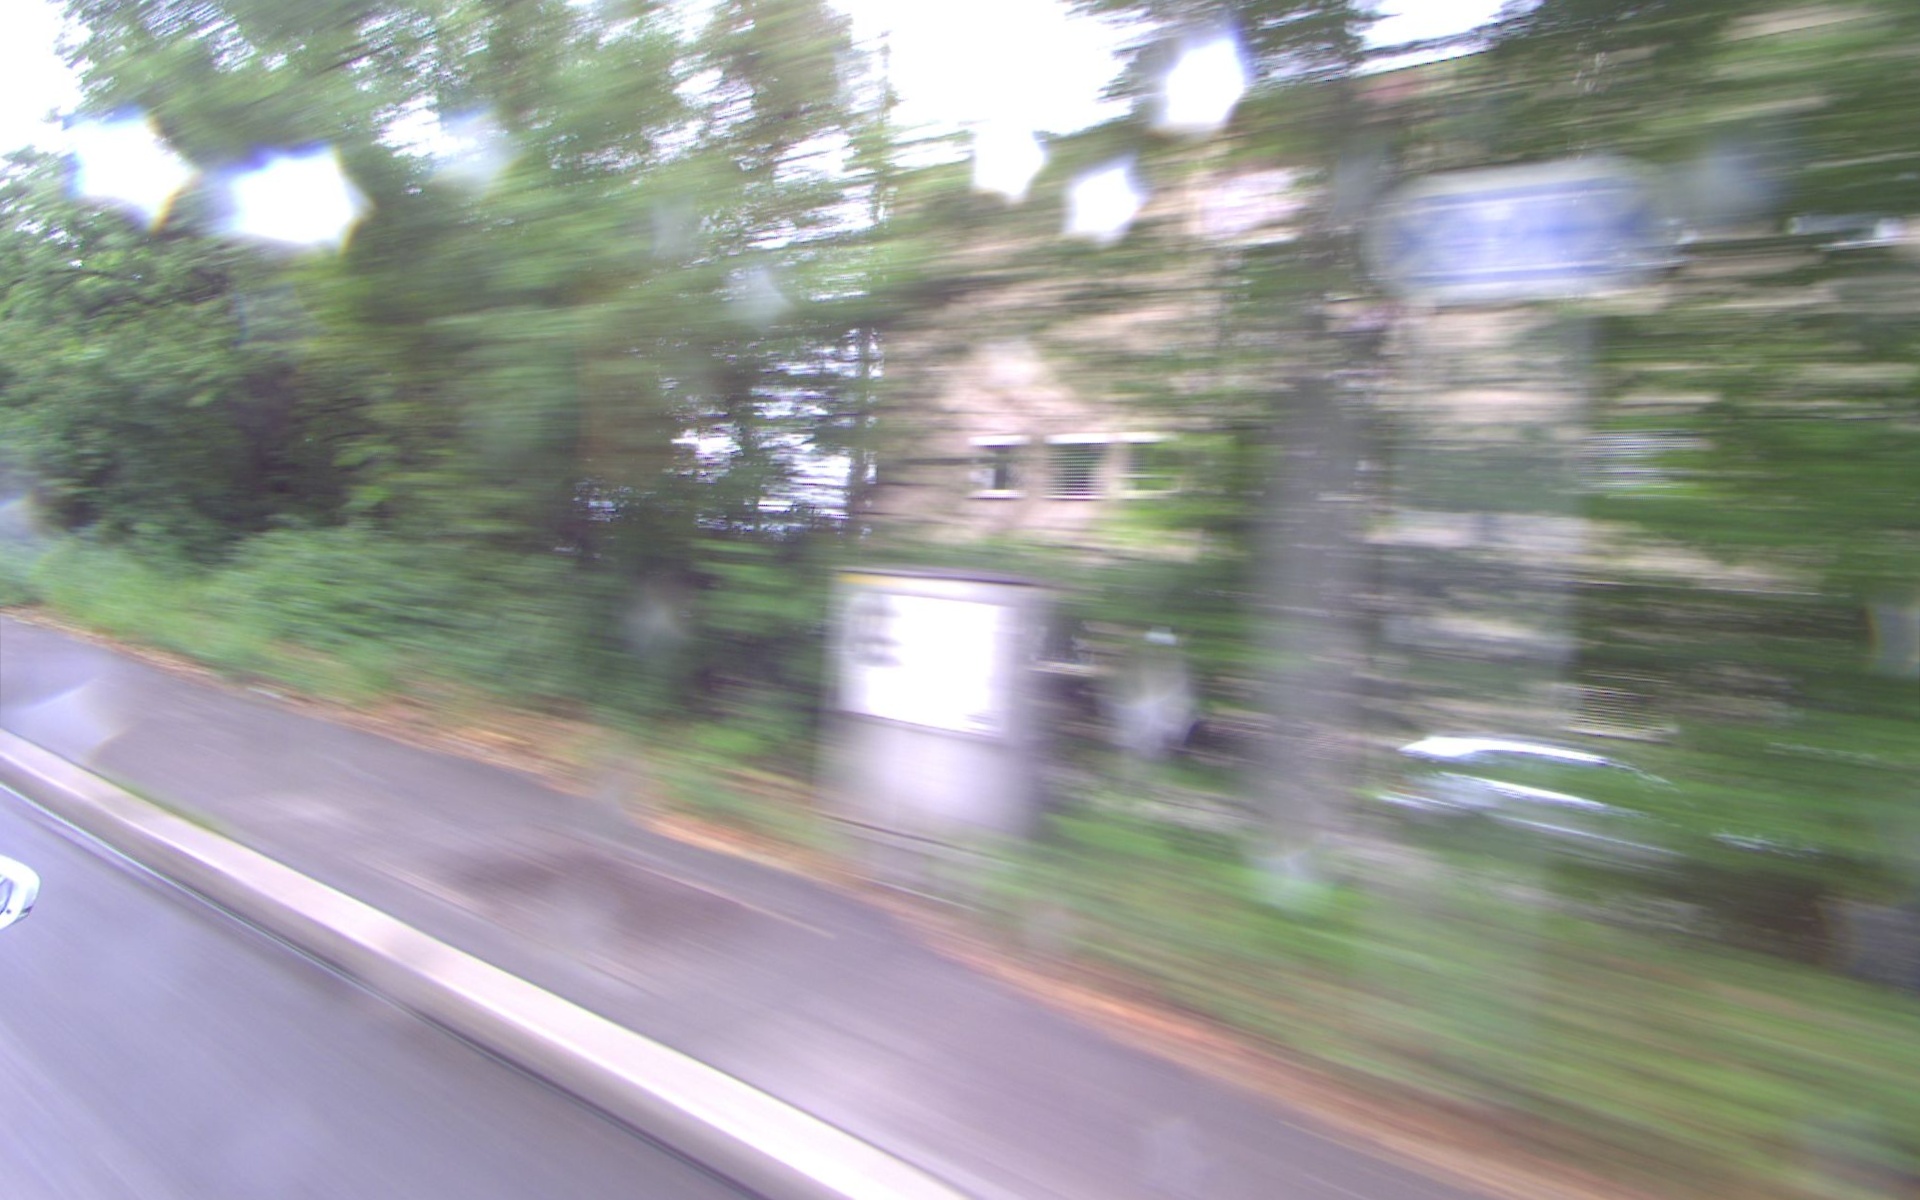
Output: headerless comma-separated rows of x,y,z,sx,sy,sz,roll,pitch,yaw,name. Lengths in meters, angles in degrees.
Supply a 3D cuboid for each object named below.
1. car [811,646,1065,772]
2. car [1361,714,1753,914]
-0.428,1.702,16.554,3.938,1.482,1.552,5,0,35,car
6.858,2.366,11.872,3.634,1.475,1.550,6,1,32,car
